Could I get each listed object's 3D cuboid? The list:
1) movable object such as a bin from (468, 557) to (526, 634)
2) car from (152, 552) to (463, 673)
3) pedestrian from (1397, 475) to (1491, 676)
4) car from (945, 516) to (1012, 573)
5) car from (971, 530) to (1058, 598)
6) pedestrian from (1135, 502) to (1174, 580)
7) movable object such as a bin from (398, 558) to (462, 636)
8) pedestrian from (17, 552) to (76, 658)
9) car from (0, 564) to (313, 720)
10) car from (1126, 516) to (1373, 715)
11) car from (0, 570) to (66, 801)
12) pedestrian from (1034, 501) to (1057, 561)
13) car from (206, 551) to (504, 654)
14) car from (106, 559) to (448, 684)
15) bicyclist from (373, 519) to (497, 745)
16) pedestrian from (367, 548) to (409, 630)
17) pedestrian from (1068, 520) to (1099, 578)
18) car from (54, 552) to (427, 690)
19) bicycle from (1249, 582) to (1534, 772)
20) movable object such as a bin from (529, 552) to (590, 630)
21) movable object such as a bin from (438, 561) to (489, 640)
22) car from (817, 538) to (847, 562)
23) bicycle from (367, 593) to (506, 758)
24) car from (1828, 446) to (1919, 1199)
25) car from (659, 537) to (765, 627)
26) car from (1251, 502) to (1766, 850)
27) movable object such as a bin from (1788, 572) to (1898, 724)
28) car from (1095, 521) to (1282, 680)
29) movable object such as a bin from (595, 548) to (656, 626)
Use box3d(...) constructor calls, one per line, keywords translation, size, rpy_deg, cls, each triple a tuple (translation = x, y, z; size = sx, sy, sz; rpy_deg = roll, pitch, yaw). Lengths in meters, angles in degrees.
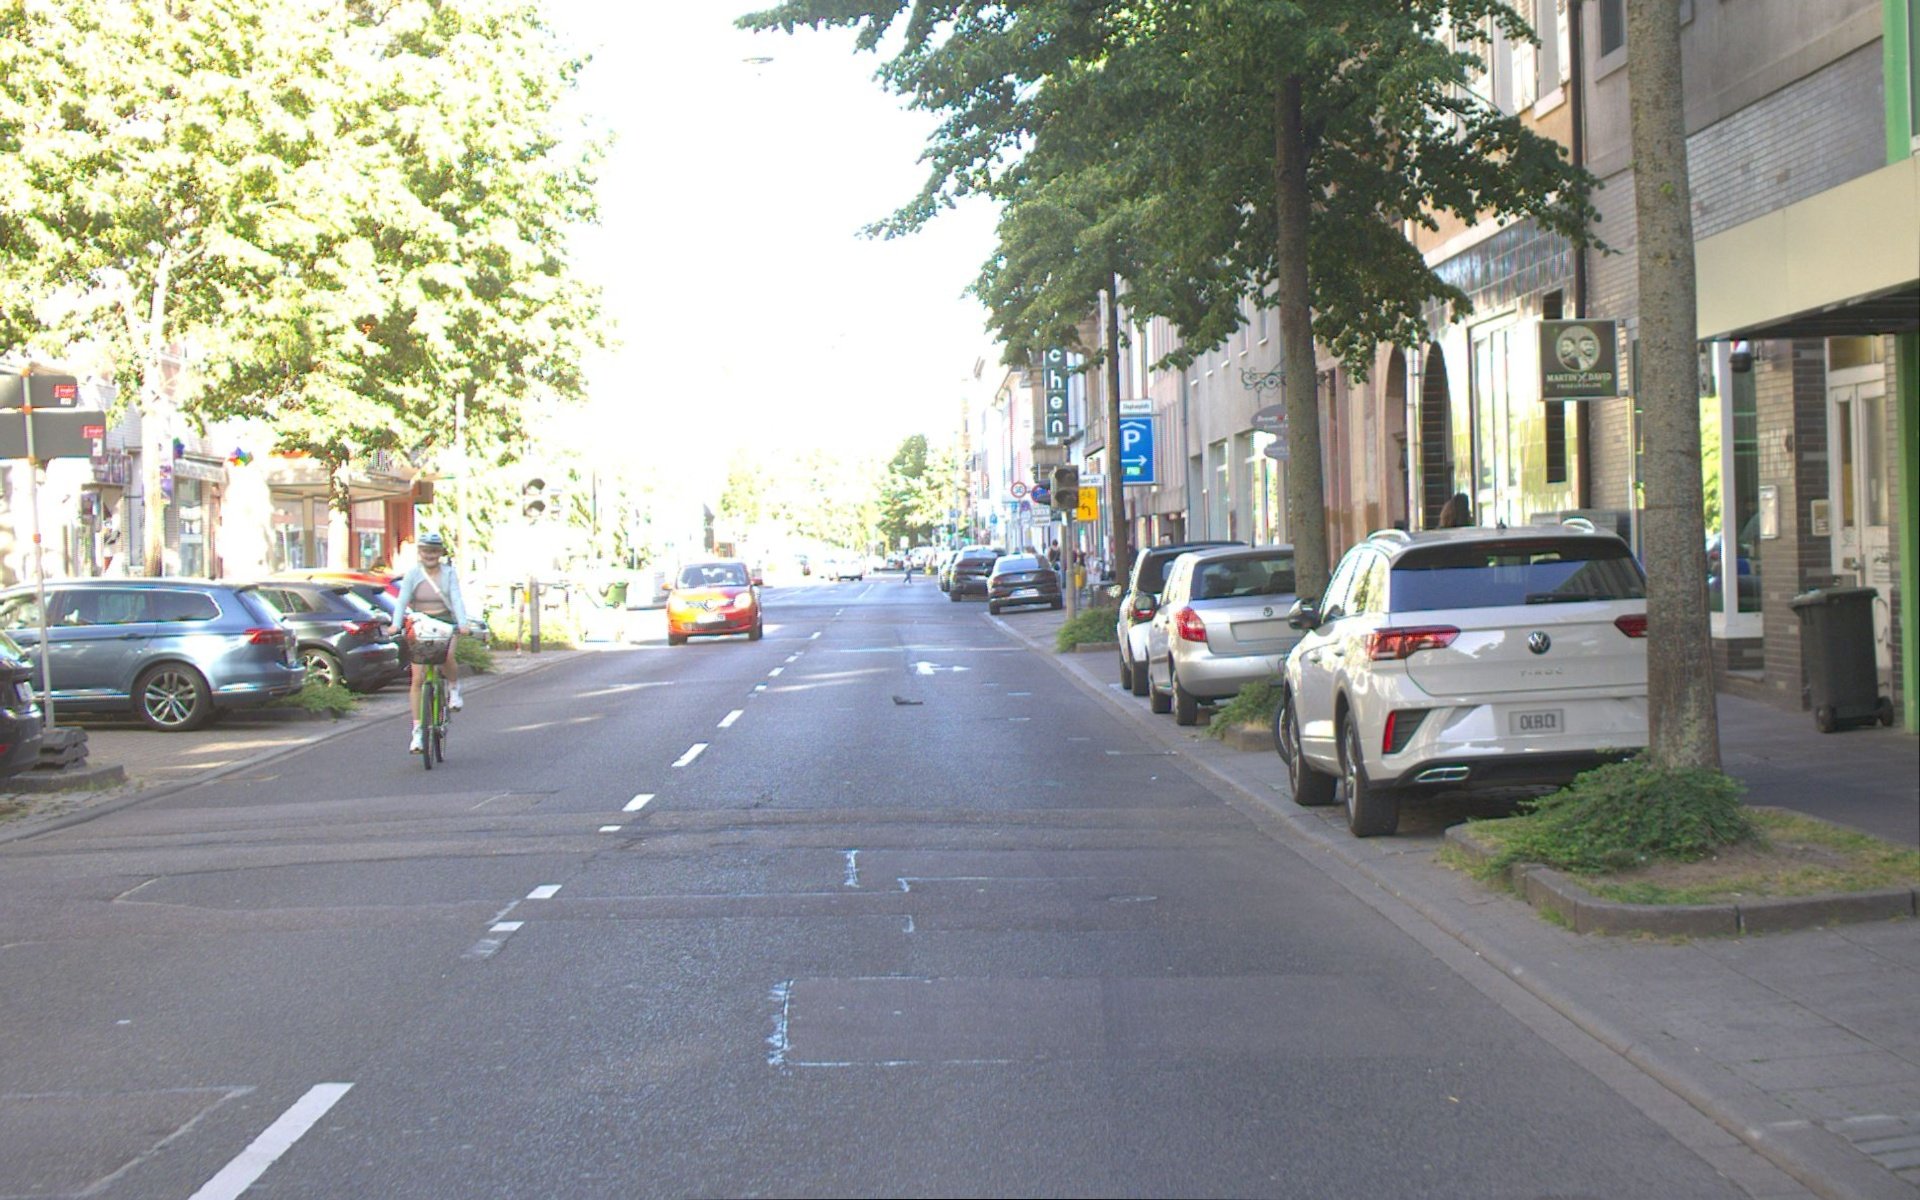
box3d(translation=(-9.065, -0.099, 67.384), size=(0.964, 1.466, 1.143), rpy_deg=(-2, 1, -2), cls="movable object such as a bin")
box3d(translation=(-8.539, 0.149, 45.222), size=(3.748, 1.463, 1.740), rpy_deg=(-1, 1, -1), cls="car")
box3d(translation=(4.381, -0.224, 31.167), size=(0.623, 1.759, 0.771), rpy_deg=(-4, 1, 0), cls="pedestrian")
box3d(translation=(0.534, -1.732, 106.181), size=(1.973, 1.719, 4.824), rpy_deg=(0, 1, -1), cls="car")
box3d(translation=(1.344, -0.931, 86.656), size=(1.917, 1.473, 4.965), rpy_deg=(-6, 1, -1), cls="car")
box3d(translation=(3.985, -1.208, 70.502), size=(0.580, 1.554, 1.021), rpy_deg=(-5, 1, -2), cls="pedestrian")
box3d(translation=(-10.378, -0.068, 67.336), size=(1.042, 1.466, 1.143), rpy_deg=(-2, 1, -2), cls="movable object such as a bin")
box3d(translation=(-12.307, 0.061, 46.329), size=(0.508, 1.403, 0.825), rpy_deg=(-1, 2, 3), cls="pedestrian")
box3d(translation=(-8.695, 0.390, 33.470), size=(4.492, 1.453, 1.790), rpy_deg=(0, 1, -2), cls="car")
box3d(translation=(2.526, 0.087, 30.868), size=(1.614, 1.523, 4.235), rpy_deg=(-5, 1, -2), cls="car")
box3d(translation=(-7.950, 0.591, 22.630), size=(3.779, 1.453, 1.781), rpy_deg=(-2, 1, -8), cls="car")
box3d(translation=(2.537, -2.050, 102.087), size=(0.620, 1.760, 0.518), rpy_deg=(-2, 1, 2), cls="pedestrian")
box3d(translation=(-9.233, 0.025, 52.641), size=(4.203, 1.463, 1.740), rpy_deg=(-1, 1, 1), cls="car")
box3d(translation=(-8.437, 0.251, 42.689), size=(3.841, 1.424, 1.789), rpy_deg=(-1, 1, 1), cls="car")
box3d(translation=(-4.064, 0.229, 26.685), size=(0.725, 1.694, 1.282), rpy_deg=(-2, 1, 0), cls="bicyclist")
box3d(translation=(-11.848, -0.237, 71.248), size=(0.665, 1.653, 1.037), rpy_deg=(-2, 1, -1), cls="pedestrian")
box3d(translation=(3.672, -1.503, 102.135), size=(0.801, 1.669, 0.589), rpy_deg=(-4, 1, 2), cls="pedestrian")
box3d(translation=(-8.311, 0.225, 39.950), size=(3.919, 1.480, 1.771), rpy_deg=(-1, 1, 1), cls="car")
box3d(translation=(2.737, 0.484, 21.874), size=(1.622, 1.009, 0.611), rpy_deg=(-6, 1, -2), cls="bicycle")
box3d(translation=(-7.818, -0.177, 67.209), size=(1.042, 1.466, 1.143), rpy_deg=(-2, 1, -2), cls="movable object such as a bin")
box3d(translation=(-8.681, 0.008, 60.166), size=(0.754, 1.336, 0.805), rpy_deg=(-2, 1, -2), cls="movable object such as a bin")
box3d(translation=(-9.585, -3.761, 257.598), size=(1.993, 1.765, 4.000), rpy_deg=(-1, 2, 0), cls="car")
box3d(translation=(-4.055, 0.563, 26.764), size=(0.725, 1.165, 2.197), rpy_deg=(-2, 1, 0), cls="bicycle")
box3d(translation=(2.955, 0.491, 5.021), size=(1.993, 1.684, 4.517), rpy_deg=(-5, 1, -1), cls="car")
box3d(translation=(-4.588, -0.354, 64.011), size=(1.658, 1.530, 3.761), rpy_deg=(-3, 1, -1), cls="car")
box3d(translation=(2.787, 0.315, 18.437), size=(1.883, 1.521, 4.234), rpy_deg=(-4, 1, -1), cls="car")
box3d(translation=(5.793, 0.308, 22.585), size=(0.522, 0.953, 0.655), rpy_deg=(-2, 1, 0), cls="movable object such as a bin")
box3d(translation=(2.409, -0.019, 36.838), size=(1.613, 1.523, 3.061), rpy_deg=(-4, 1, -2), cls="car")
box3d(translation=(-6.559, -0.257, 67.421), size=(1.042, 1.466, 1.453), rpy_deg=(-2, 1, -2), cls="movable object such as a bin")
